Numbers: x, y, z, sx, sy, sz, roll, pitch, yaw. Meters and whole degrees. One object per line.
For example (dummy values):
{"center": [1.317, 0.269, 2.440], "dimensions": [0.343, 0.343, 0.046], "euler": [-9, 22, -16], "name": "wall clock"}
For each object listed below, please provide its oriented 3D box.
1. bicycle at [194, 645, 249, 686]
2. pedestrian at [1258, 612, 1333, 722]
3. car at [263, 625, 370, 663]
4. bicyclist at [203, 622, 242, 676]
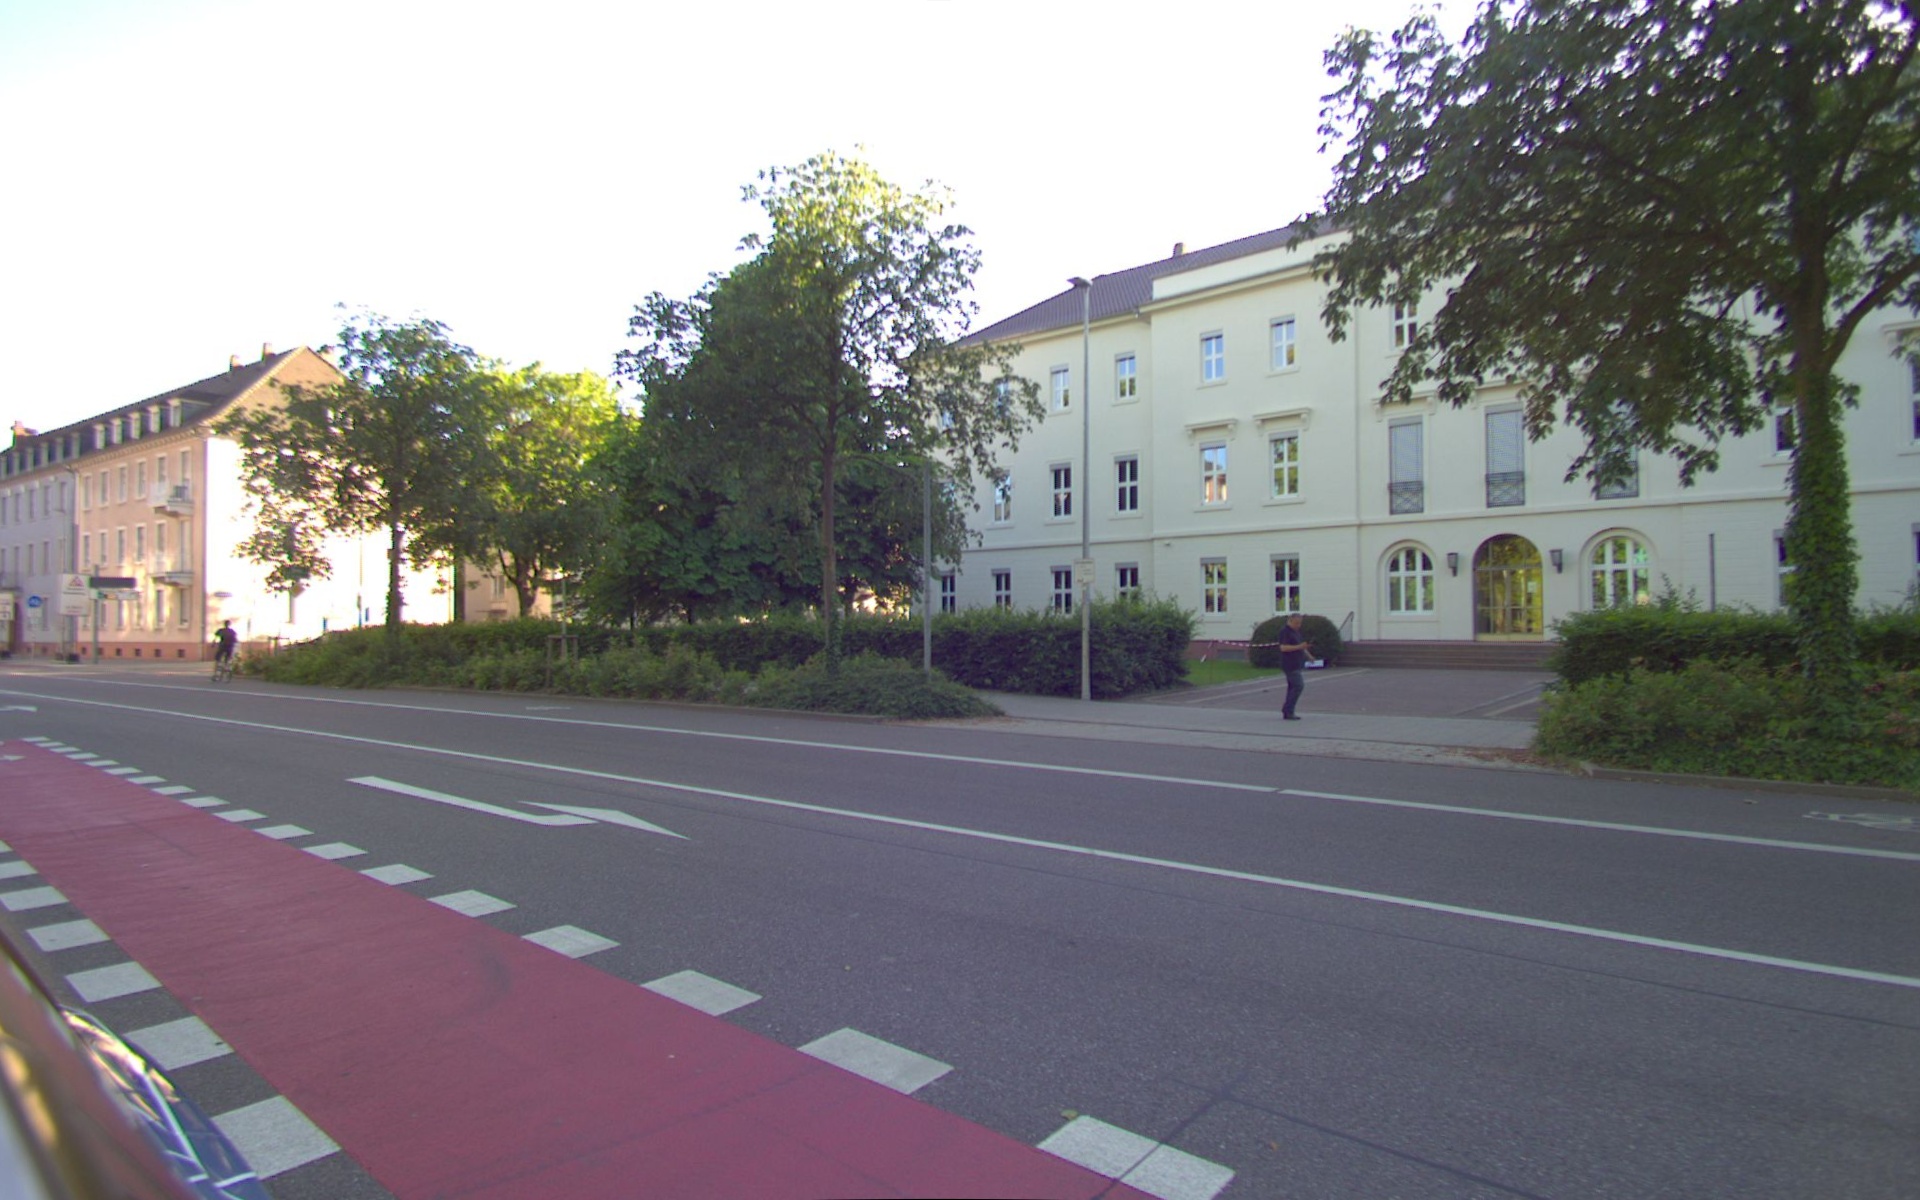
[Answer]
{"center": [-22.171, 1.946, 30.364], "dimensions": [2.242, 1.168, 0.688], "euler": [-2, -3, 38], "name": "bicycle"}
{"center": [5.509, 1.094, 16.621], "dimensions": [0.965, 1.734, 0.828], "euler": [-3, -4, 32], "name": "pedestrian"}
{"center": [-31.516, 2.110, 49.664], "dimensions": [1.993, 1.674, 3.958], "euler": [-1, -1, 31], "name": "car"}
{"center": [-22.092, 1.458, 30.326], "dimensions": [0.837, 1.574, 0.683], "euler": [-2, -3, 38], "name": "bicyclist"}
